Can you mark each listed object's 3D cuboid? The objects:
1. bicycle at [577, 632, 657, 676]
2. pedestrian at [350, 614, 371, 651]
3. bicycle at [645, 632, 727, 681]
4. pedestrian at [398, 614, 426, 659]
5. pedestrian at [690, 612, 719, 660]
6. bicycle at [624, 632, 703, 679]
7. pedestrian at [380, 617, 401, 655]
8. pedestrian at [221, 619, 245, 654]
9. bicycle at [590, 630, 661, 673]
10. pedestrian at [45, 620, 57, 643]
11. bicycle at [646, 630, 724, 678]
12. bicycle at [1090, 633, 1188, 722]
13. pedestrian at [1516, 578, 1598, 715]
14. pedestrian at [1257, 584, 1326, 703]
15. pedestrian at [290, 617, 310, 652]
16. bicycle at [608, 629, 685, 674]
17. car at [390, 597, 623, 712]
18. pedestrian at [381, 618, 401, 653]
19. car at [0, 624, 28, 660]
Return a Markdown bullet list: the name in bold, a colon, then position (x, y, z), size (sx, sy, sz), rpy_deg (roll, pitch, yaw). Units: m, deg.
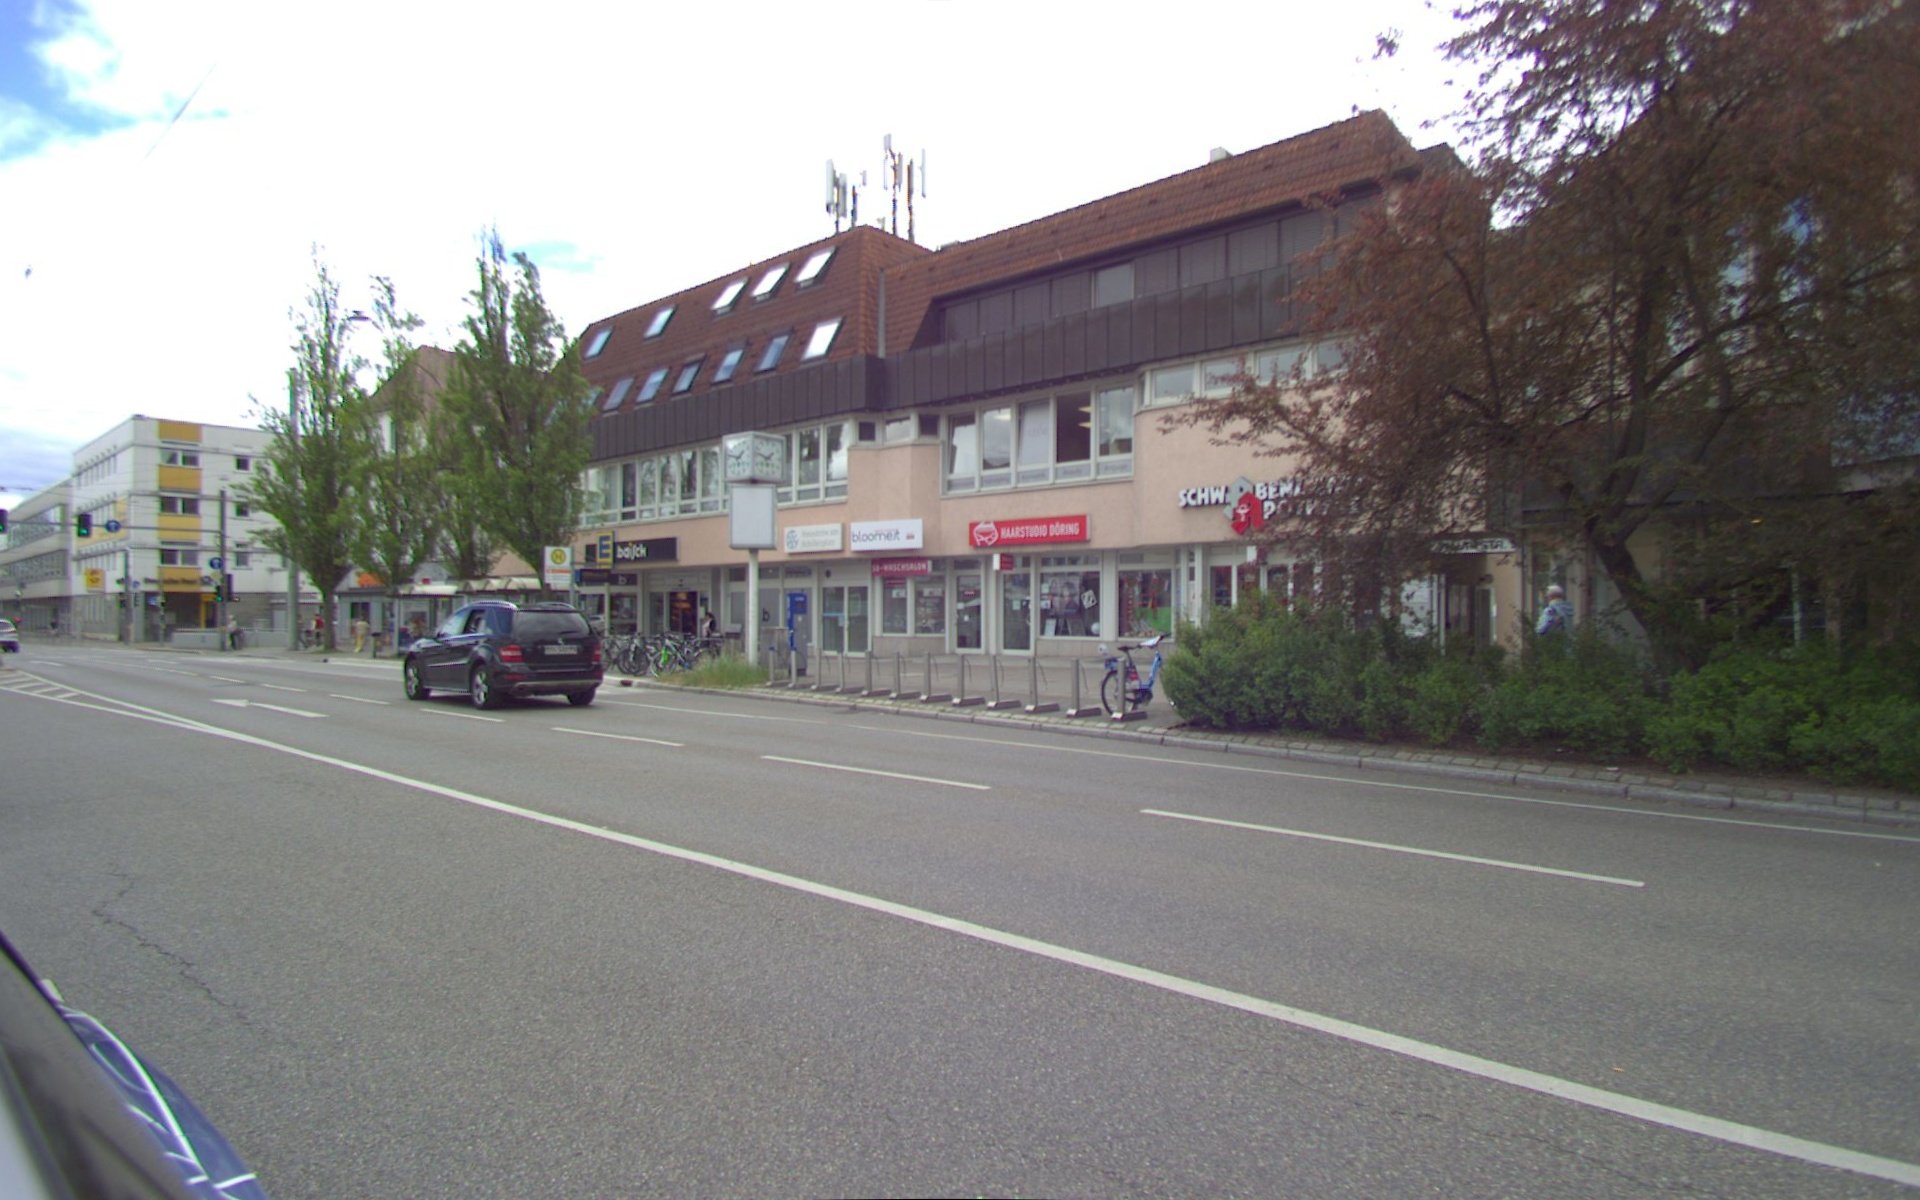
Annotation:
- **bicycle**: position (-9.122, 1.408, 26.988), size (0.648, 1.098, 1.999), rpy_deg (-1, -1, 36)
- **pedestrian**: position (-27.626, 1.491, 46.648), size (0.614, 1.646, 0.580), rpy_deg (-2, 1, 39)
- **bicycle**: position (-6.501, 1.320, 24.141), size (0.647, 1.098, 2.003), rpy_deg (-1, -1, 31)
- **pedestrian**: position (-20.419, 1.350, 37.725), size (0.709, 1.665, 0.583), rpy_deg (-2, -1, 23)
- **pedestrian**: position (-8.471, 1.199, 33.571), size (0.587, 1.559, 0.704), rpy_deg (-2, -1, 40)
- **bicycle**: position (-7.445, 1.362, 25.472), size (0.647, 1.098, 2.003), rpy_deg (-1, -1, 31)
- **pedestrian**: position (-26.656, 1.669, 47.383), size (0.614, 1.725, 0.580), rpy_deg (-2, 1, 39)
- **pedestrian**: position (-34.825, 1.748, 48.498), size (0.612, 1.646, 0.695), rpy_deg (-2, 1, 30)
- **bicycle**: position (-9.304, 1.412, 28.198), size (0.646, 1.098, 2.006), rpy_deg (-1, 0, 27)
- **pedestrian**: position (-71.524, 2.474, 79.616), size (0.526, 1.816, 0.580), rpy_deg (-2, 1, 41)
- **bicycle**: position (-6.807, 1.320, 25.149), size (0.647, 1.098, 2.003), rpy_deg (-1, -1, 31)
- **bicycle**: position (2.506, 1.029, 13.983), size (0.647, 1.098, 2.003), rpy_deg (-1, -1, 31)
- **pedestrian**: position (8.226, 0.622, 13.934), size (0.717, 1.777, 0.756), rpy_deg (-5, 2, -45)
- **pedestrian**: position (5.161, 0.659, 15.732), size (0.754, 1.777, 0.719), rpy_deg (-2, 1, 39)
- **pedestrian**: position (-31.198, 1.627, 47.831), size (0.614, 1.646, 0.580), rpy_deg (-2, 1, 39)
- **bicycle**: position (-8.176, 1.323, 26.474), size (0.647, 1.098, 2.003), rpy_deg (-1, -1, 31)
- **car**: position (-8.109, 0.922, 17.889), size (4.692, 1.752, 2.046), rpy_deg (-1, -3, 43)
- **pedestrian**: position (-27.592, 1.707, 49.077), size (0.614, 1.646, 0.580), rpy_deg (-2, 1, 39)
- **car**: position (-43.736, 1.868, 45.791), size (4.342, 1.517, 1.854), rpy_deg (-1, -2, 42)
